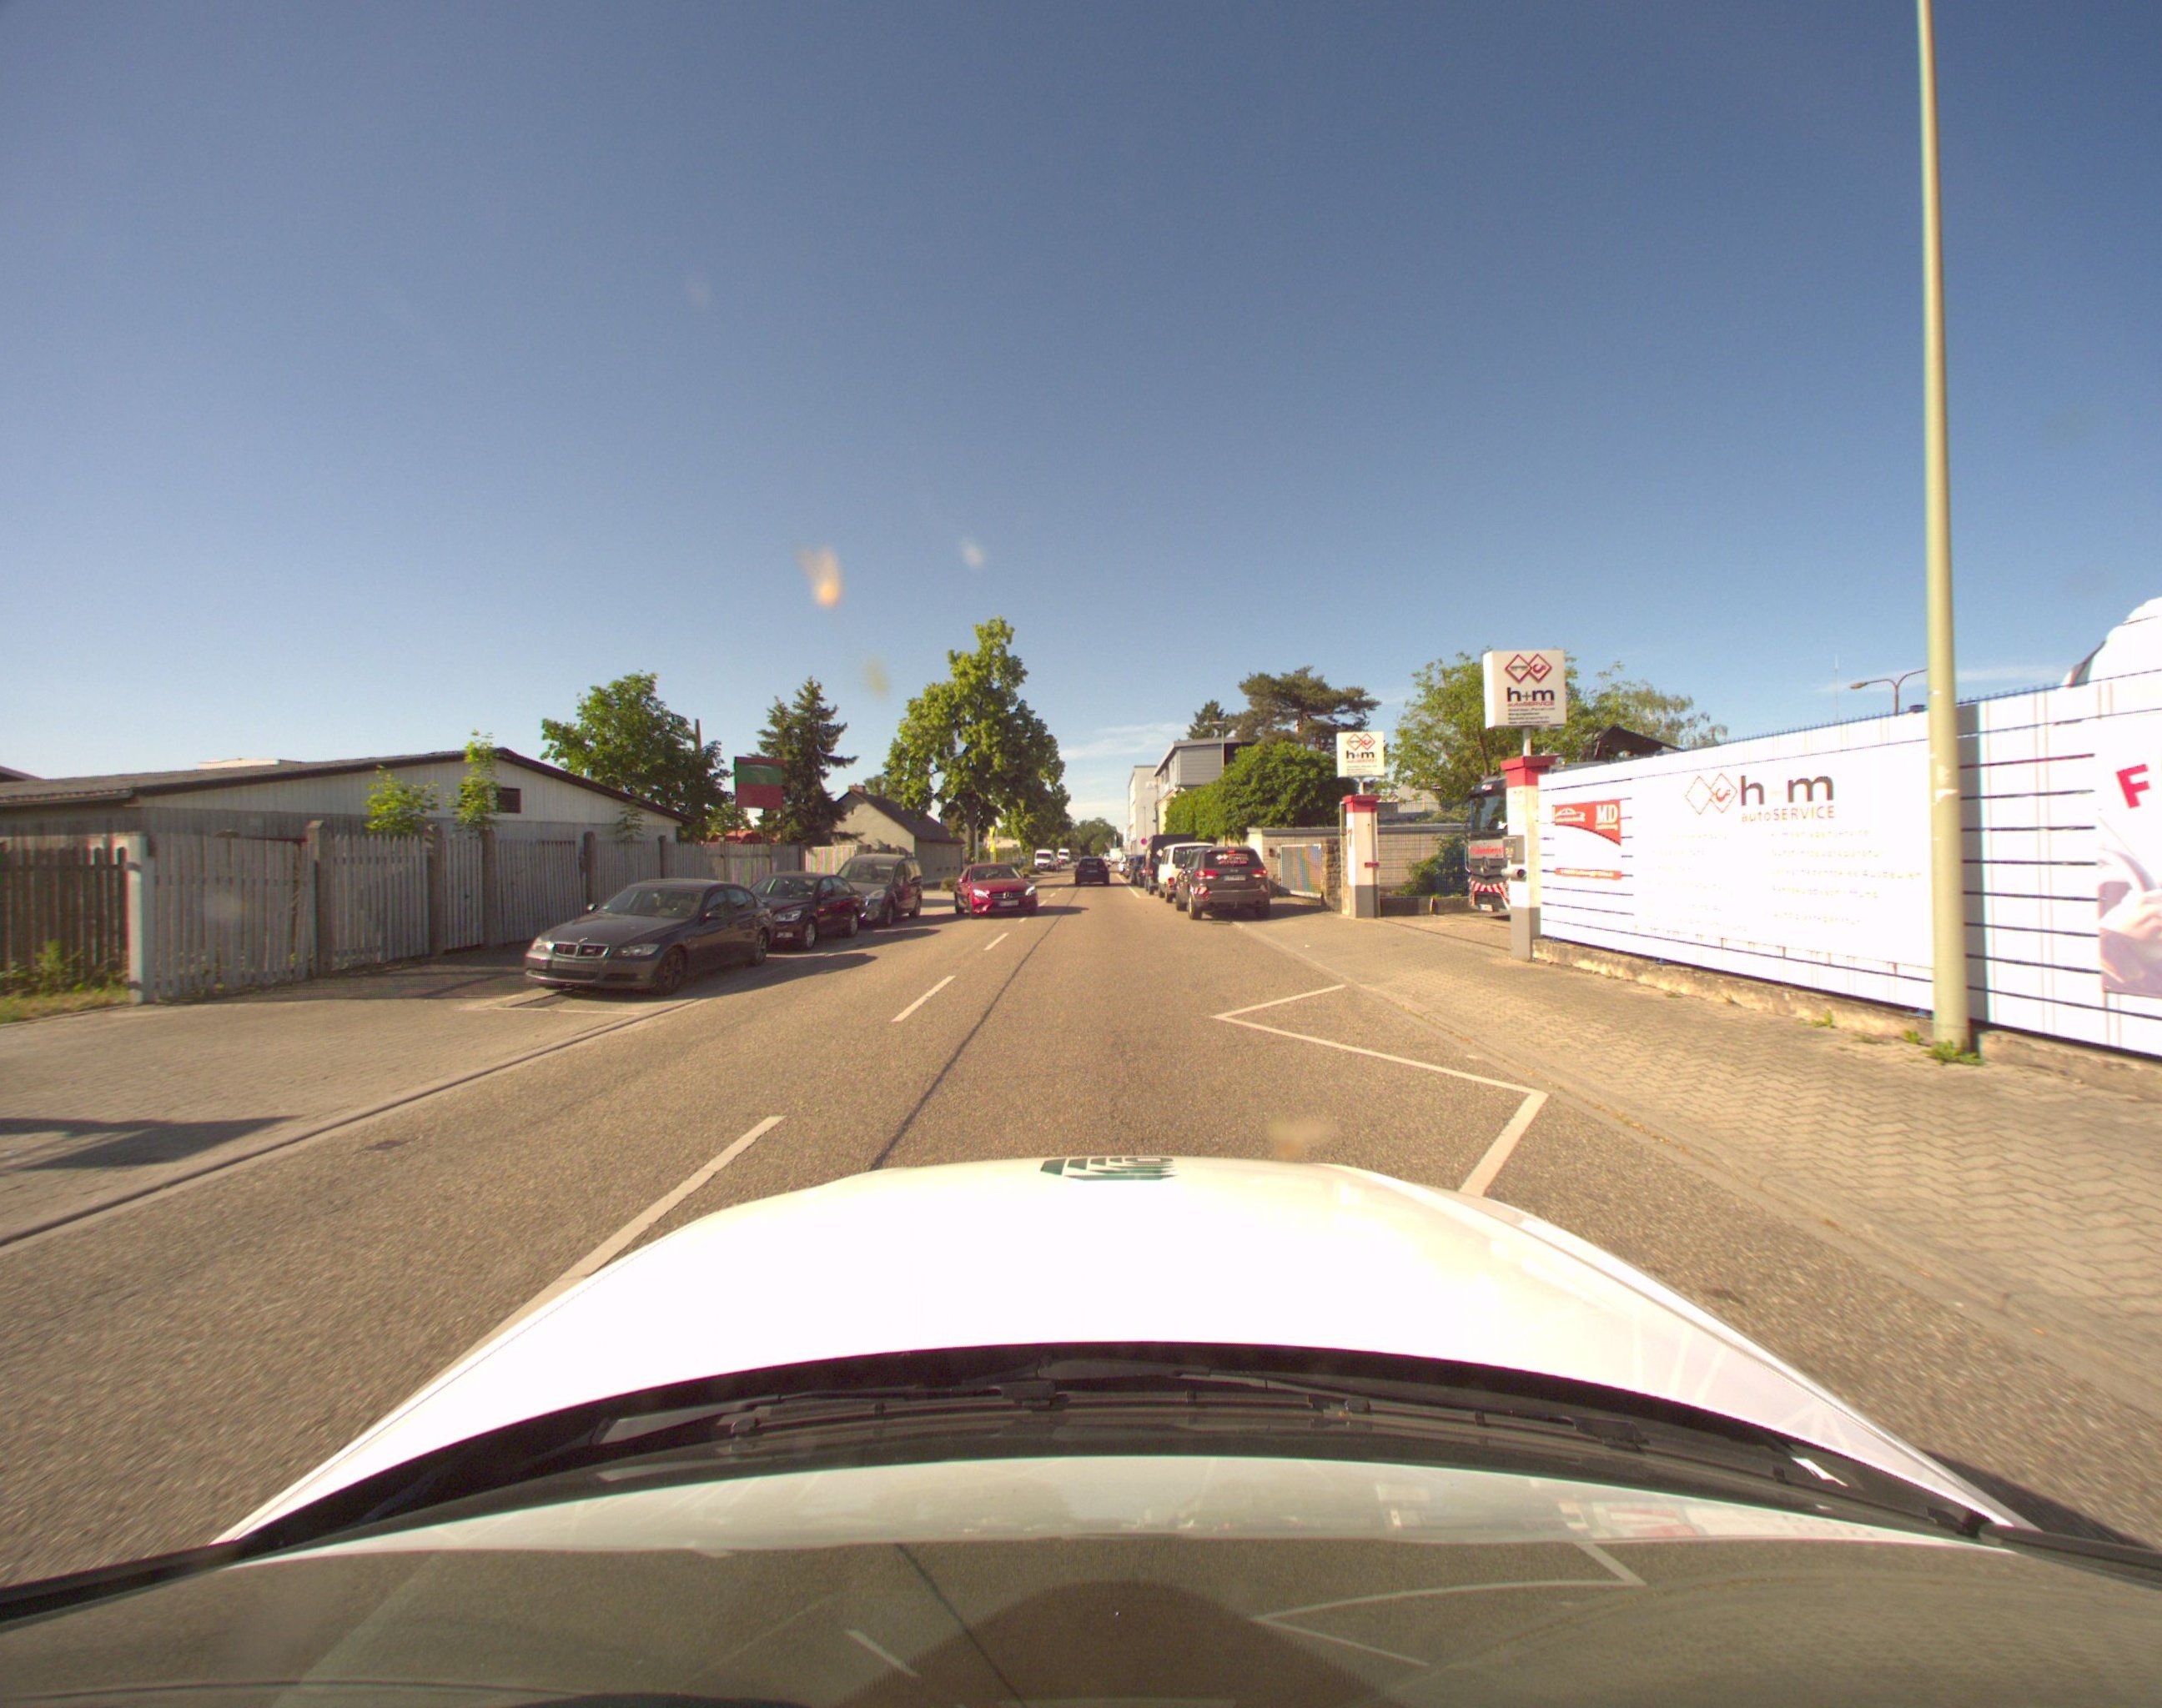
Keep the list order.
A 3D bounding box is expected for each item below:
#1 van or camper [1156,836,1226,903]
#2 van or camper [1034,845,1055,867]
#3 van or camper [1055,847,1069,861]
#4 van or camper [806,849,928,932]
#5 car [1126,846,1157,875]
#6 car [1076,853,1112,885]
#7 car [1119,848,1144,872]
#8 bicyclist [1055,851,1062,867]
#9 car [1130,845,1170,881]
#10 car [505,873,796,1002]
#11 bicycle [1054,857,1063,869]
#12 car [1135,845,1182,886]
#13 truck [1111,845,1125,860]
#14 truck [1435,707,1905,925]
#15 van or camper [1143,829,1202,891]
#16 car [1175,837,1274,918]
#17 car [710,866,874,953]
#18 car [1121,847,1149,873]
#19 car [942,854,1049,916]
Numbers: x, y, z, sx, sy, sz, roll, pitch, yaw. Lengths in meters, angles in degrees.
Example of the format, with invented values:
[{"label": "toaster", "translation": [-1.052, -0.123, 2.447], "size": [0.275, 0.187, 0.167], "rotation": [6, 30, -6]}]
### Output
[{"label": "van or camper", "translation": [3.615, 0.473, 27.409], "size": [1.912, 2.019, 4.081], "rotation": [-1, 0, 2]}, {"label": "van or camper", "translation": [-4.162, 0.199, 94.225], "size": [2.317, 2.362, 6.523], "rotation": [-1, 0, -2]}, {"label": "van or camper", "translation": [-3.331, -0.019, 143.816], "size": [2.317, 2.362, 6.523], "rotation": [-1, 0, -2]}, {"label": "van or camper", "translation": [-5.551, 0.900, 21.757], "size": [1.883, 1.926, 4.269], "rotation": [-2, 0, 3]}, {"label": "car", "translation": [4.052, 0.393, 54.930], "size": [1.912, 1.825, 4.081], "rotation": [-1, 0, 2]}, {"label": "car", "translation": [0.697, 0.736, 42.206], "size": [1.705, 1.532, 3.690], "rotation": [-2, 1, 3]}, {"label": "car", "translation": [4.081, 0.461, 66.355], "size": [1.912, 1.825, 4.081], "rotation": [-1, 0, 2]}, {"label": "bicyclist", "translation": [-2.262, 0.510, 82.937], "size": [0.693, 1.539, 0.635], "rotation": [-2, 0, -1]}, {"label": "car", "translation": [3.767, 0.473, 45.022], "size": [1.912, 1.825, 4.081], "rotation": [-1, 0, 2]}, {"label": "car", "translation": [-6.051, 1.071, 12.214], "size": [1.750, 1.403, 4.560], "rotation": [-1, 0, 2]}, {"label": "bicycle", "translation": [-2.294, 0.855, 82.671], "size": [0.826, 1.153, 2.940], "rotation": [-2, 0, 0]}, {"label": "car", "translation": [3.653, 0.510, 39.022], "size": [1.912, 1.825, 4.081], "rotation": [-1, 0, 2]}, {"label": "truck", "translation": [5.676, -0.249, 126.524], "size": [1.986, 2.287, 6.958], "rotation": [-1, 0, 2]}, {"label": "truck", "translation": [11.300, -0.714, 16.105], "size": [7.356, 3.770, 2.830], "rotation": [-1, 0, -3]}, {"label": "van or camper", "translation": [3.574, 0.220, 32.616], "size": [1.986, 2.310, 4.002], "rotation": [-1, 0, 2]}, {"label": "car", "translation": [3.567, 0.536, 20.929], "size": [1.912, 1.825, 4.081], "rotation": [-1, 0, 2]}, {"label": "car", "translation": [-5.851, 1.054, 17.063], "size": [1.687, 1.469, 4.178], "rotation": [-1, 0, 4]}, {"label": "car", "translation": [3.935, 0.430, 59.875], "size": [1.912, 1.825, 4.081], "rotation": [-1, 0, 2]}, {"label": "car", "translation": [-2.498, 0.801, 22.873], "size": [1.884, 1.485, 4.014], "rotation": [-3, 1, -22]}]
